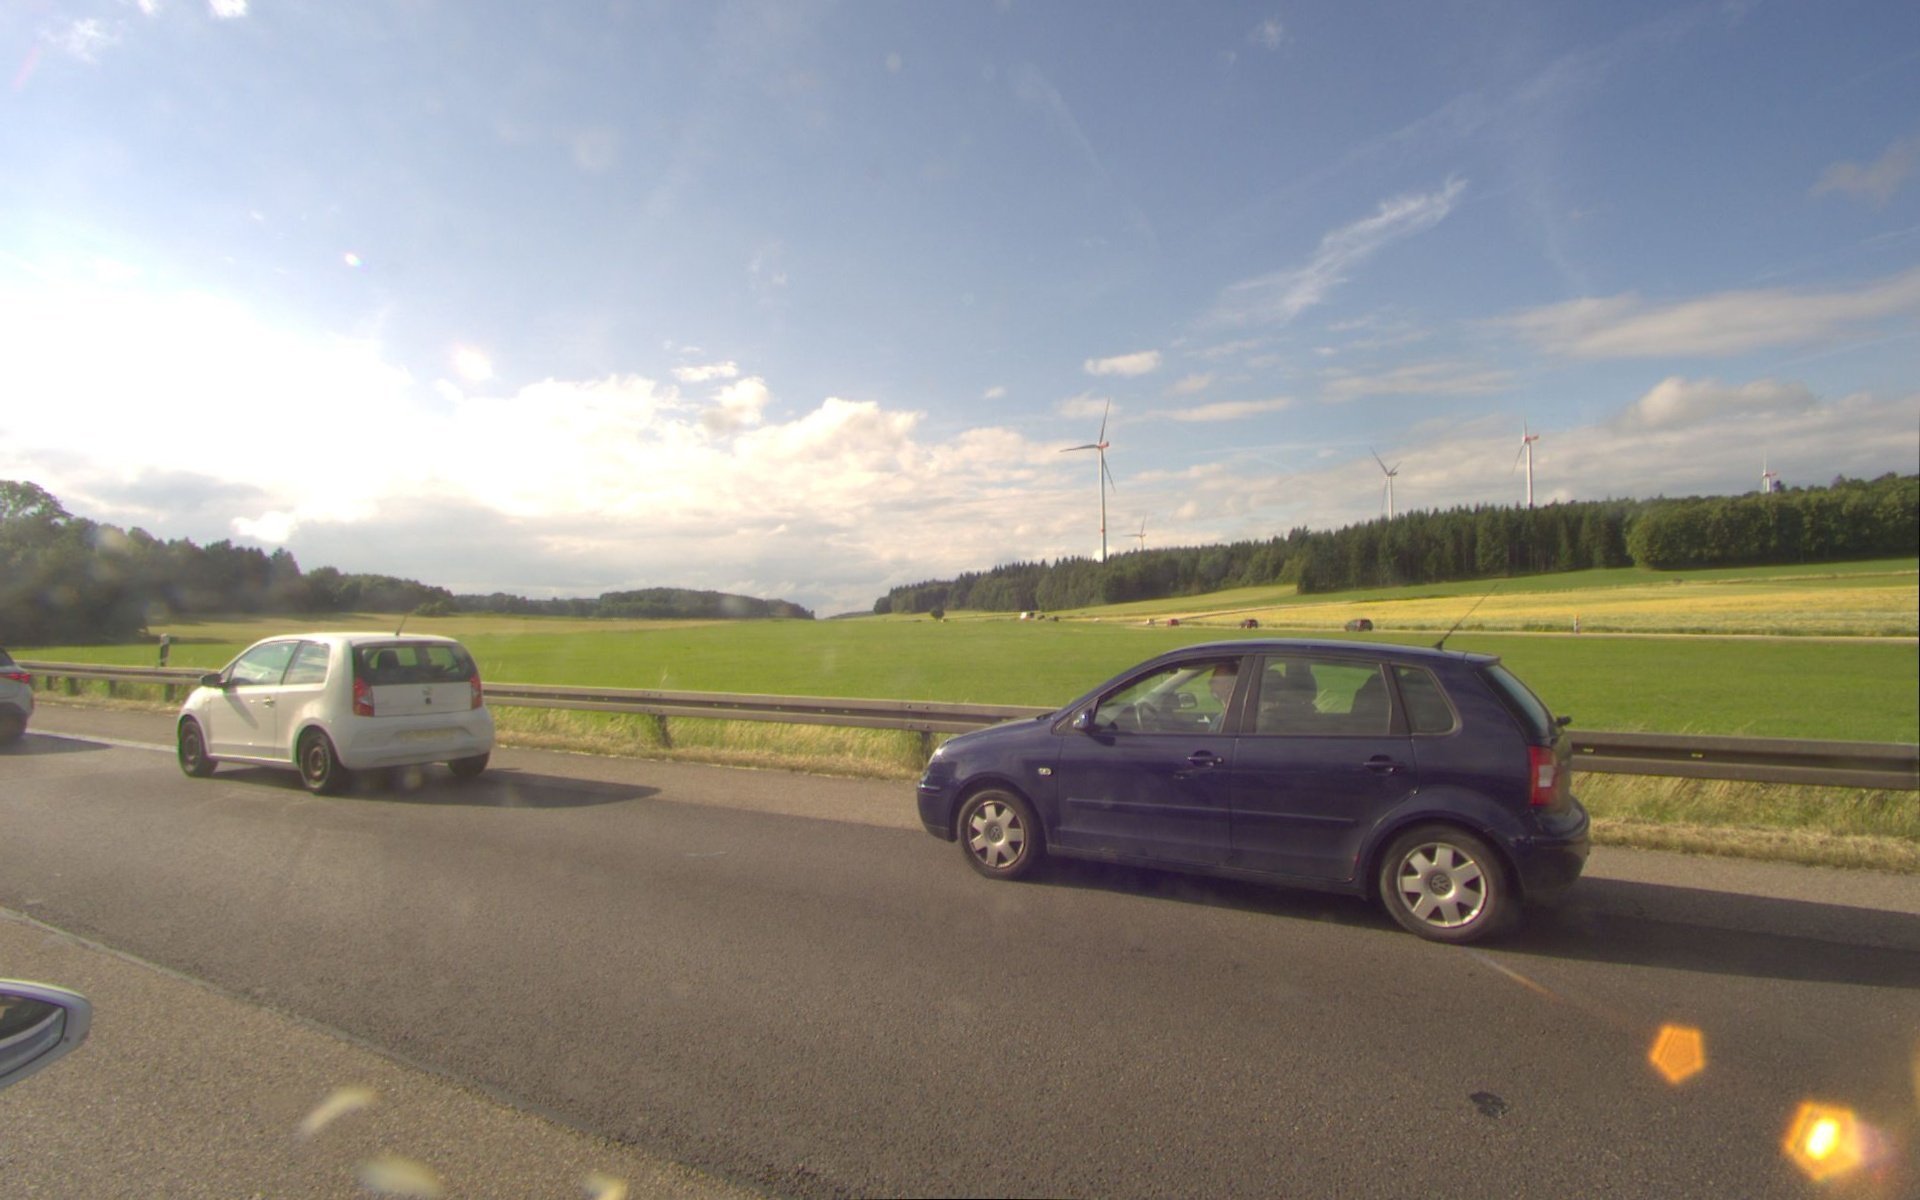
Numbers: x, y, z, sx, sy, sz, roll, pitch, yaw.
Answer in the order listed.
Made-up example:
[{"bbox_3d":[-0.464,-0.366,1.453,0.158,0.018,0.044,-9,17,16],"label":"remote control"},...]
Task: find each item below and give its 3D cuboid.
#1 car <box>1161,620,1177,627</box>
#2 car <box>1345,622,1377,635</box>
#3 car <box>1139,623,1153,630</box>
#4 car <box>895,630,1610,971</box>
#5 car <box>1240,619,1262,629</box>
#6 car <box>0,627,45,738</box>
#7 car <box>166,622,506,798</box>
[{"bbox_3d":[42.071,4.735,201.649,1.803,1.505,4.221,0,-2,-6],"label":"car"},{"bbox_3d":[47.341,3.364,118.307,1.803,1.505,4.221,0,-2,-6],"label":"car"},{"bbox_3d":[42.303,6.076,227.958,1.803,1.505,4.288,0,-2,-6],"label":"car"},{"bbox_3d":[1.621,0.926,6.008,3.719,1.464,1.708,-1,-2,31],"label":"car"},{"bbox_3d":[44.933,3.666,154.833,1.803,1.505,4.221,0,-2,-6],"label":"car"},{"bbox_3d":[-14.692,1.130,13.989,4.084,1.464,1.619,-1,-2,29],"label":"car"},{"bbox_3d":[-6.414,1.001,10.250,3.326,1.514,1.547,0,-1,29],"label":"car"}]
